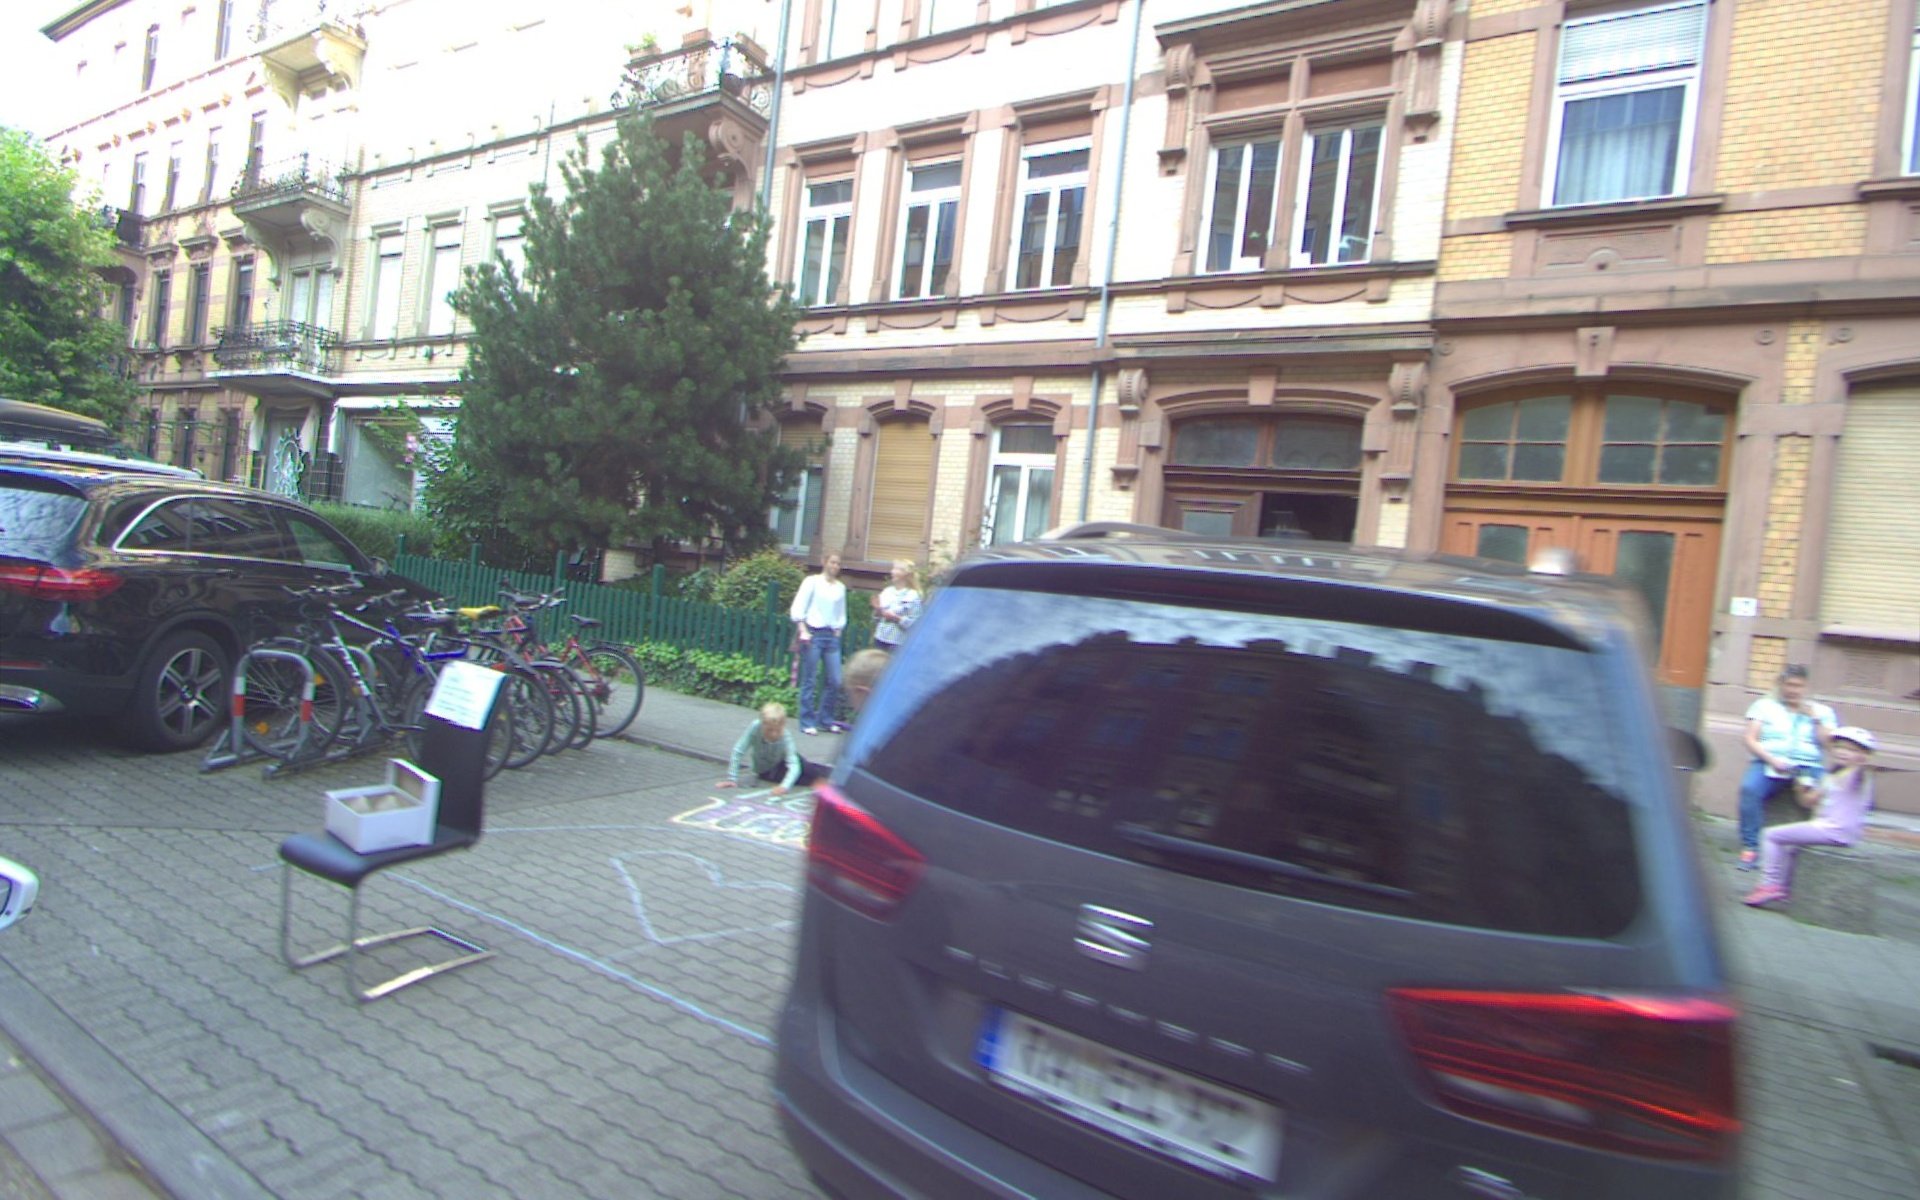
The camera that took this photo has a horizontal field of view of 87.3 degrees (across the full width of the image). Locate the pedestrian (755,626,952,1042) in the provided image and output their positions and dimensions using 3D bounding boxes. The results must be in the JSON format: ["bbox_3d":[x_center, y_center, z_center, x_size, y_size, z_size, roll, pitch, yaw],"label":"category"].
[{"bbox_3d":[-0.350,0.755,3.440,0.499,1.269,0.471,4,4,8],"label":"pedestrian"}]

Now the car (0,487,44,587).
[{"bbox_3d":[-14.903,-0.987,13.601,1.721,1.478,3.985,6,1,-9],"label":"car"}]

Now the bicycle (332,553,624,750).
[{"bbox_3d":[-3.482,0.368,7.321,1.833,1.197,0.405,6,2,0],"label":"bicycle"}]

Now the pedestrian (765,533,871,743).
[{"bbox_3d":[-1.270,0.329,8.890,0.688,1.715,0.647,7,0,-12],"label":"pedestrian"}]

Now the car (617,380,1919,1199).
[{"bbox_3d":[1.328,0.654,3.498,1.779,1.809,4.638,9,4,30],"label":"car"}]

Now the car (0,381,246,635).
[{"bbox_3d":[-10.180,-0.979,10.345,1.882,2.436,5.157,6,1,-1],"label":"car"}]

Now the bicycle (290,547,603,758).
[{"bbox_3d":[-3.479,0.347,6.867,1.833,1.197,0.405,6,2,0],"label":"bicycle"}]

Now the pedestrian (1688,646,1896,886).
[{"bbox_3d":[5.981,1.142,7.312,0.798,1.516,0.929,7,2,25],"label":"pedestrian"}]

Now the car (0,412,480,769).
[{"bbox_3d":[-5.528,-0.118,7.274,1.964,1.753,4.456,7,-1,-3],"label":"car"}]

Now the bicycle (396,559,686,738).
[{"bbox_3d":[-3.318,0.366,8.083,1.899,1.161,0.810,6,1,2],"label":"bicycle"}]

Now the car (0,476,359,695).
[{"bbox_3d":[-7.813,-0.187,9.407,1.840,1.567,4.236,8,-1,-3],"label":"car"}]

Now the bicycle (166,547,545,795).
[{"bbox_3d":[-3.492,0.402,5.868,1.882,1.197,0.405,6,2,0],"label":"bicycle"}]

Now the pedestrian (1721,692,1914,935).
[{"bbox_3d":[5.077,1.227,6.010,0.662,1.236,0.600,7,3,31],"label":"pedestrian"}]

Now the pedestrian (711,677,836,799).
[{"bbox_3d":[-1.231,0.881,6.598,0.485,0.673,0.691,3,2,-41],"label":"pedestrian"}]

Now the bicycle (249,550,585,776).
[{"bbox_3d":[-3.432,0.391,6.417,1.833,1.197,0.405,6,2,0],"label":"bicycle"}]

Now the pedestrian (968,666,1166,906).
[{"bbox_3d":[0.545,0.891,5.107,0.676,1.033,0.638,7,2,37],"label":"pedestrian"}]

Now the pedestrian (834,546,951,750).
[{"bbox_3d":[-0.590,0.420,8.836,0.622,1.679,0.574,7,0,32],"label":"pedestrian"}]
